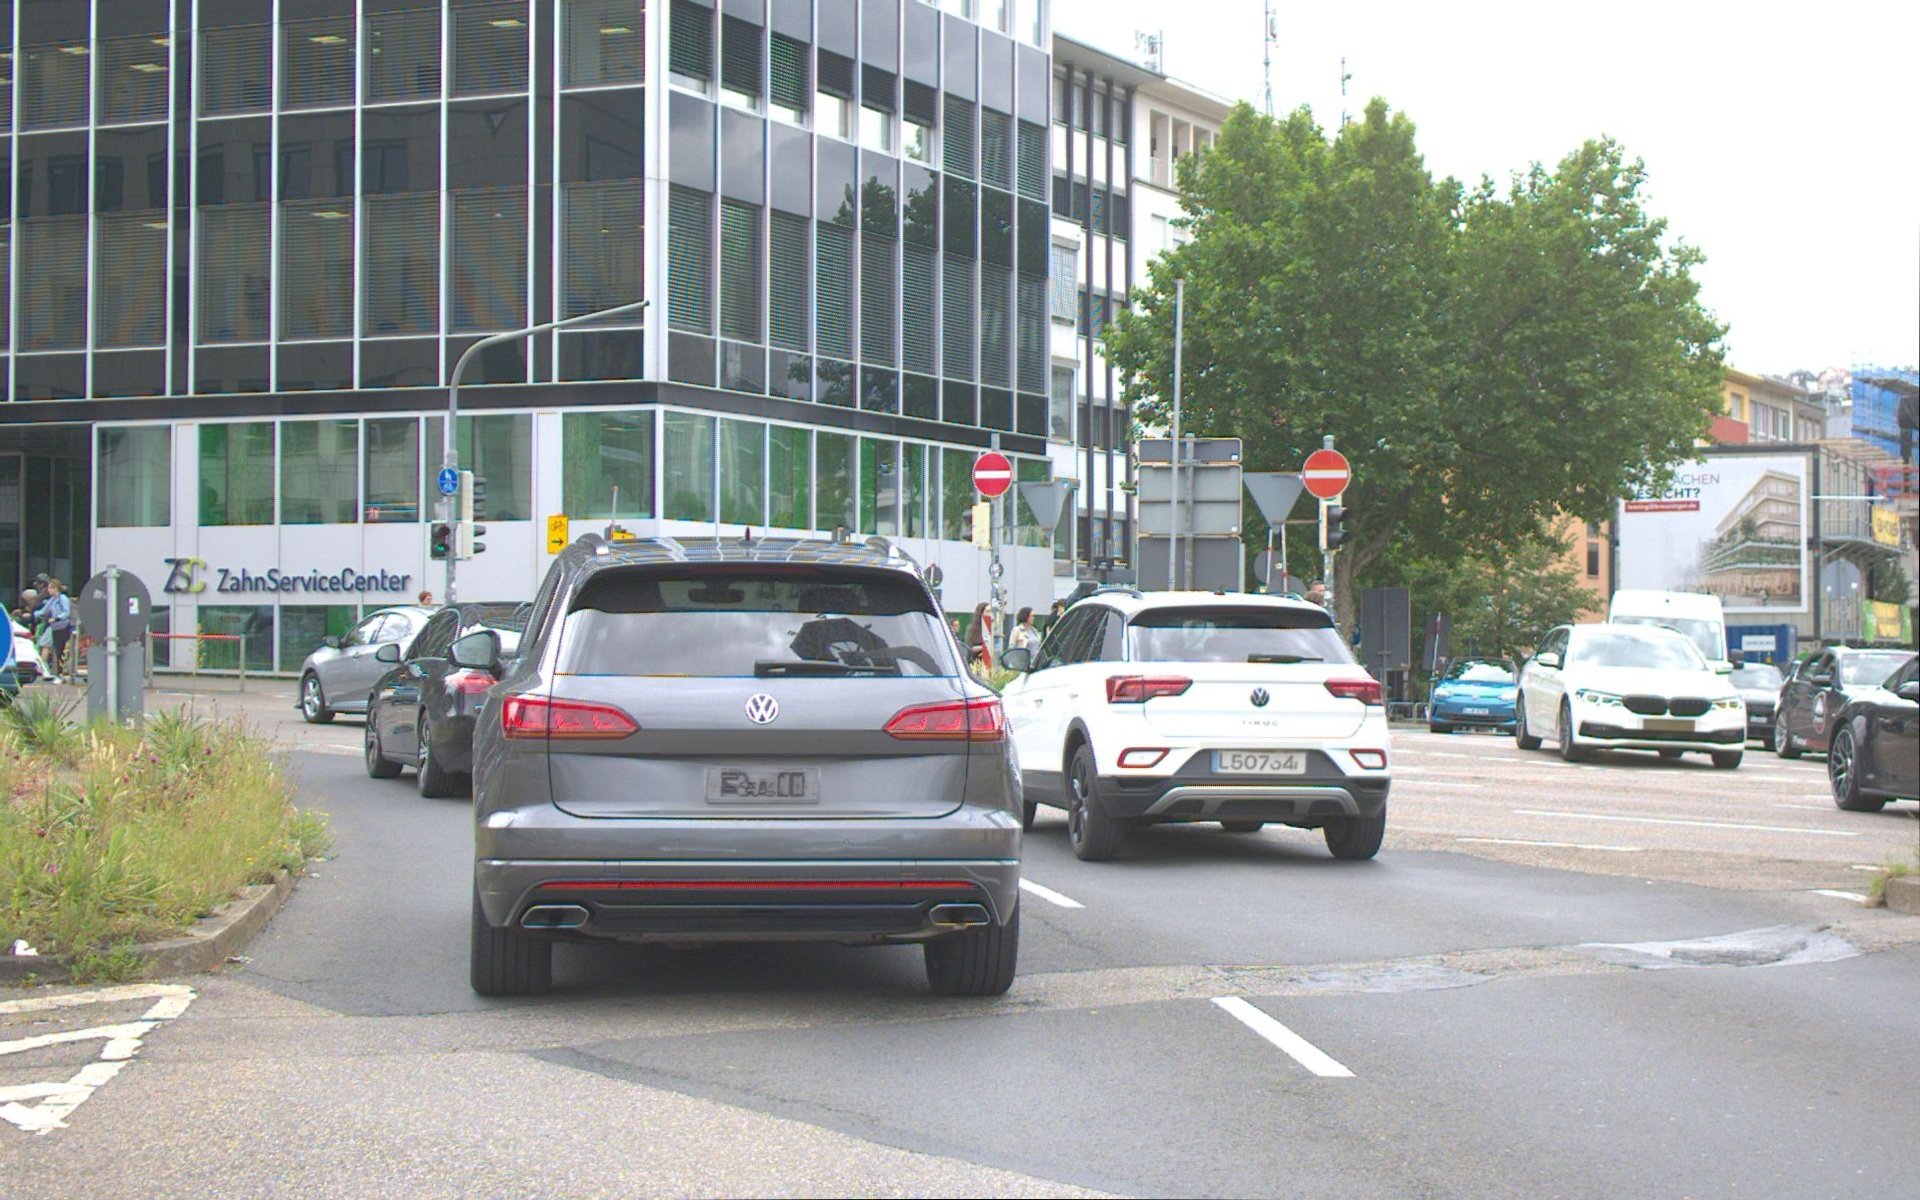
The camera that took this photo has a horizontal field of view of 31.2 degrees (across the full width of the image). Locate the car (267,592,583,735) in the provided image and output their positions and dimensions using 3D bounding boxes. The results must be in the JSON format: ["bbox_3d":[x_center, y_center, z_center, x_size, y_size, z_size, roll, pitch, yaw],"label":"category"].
[{"bbox_3d":[-6.258,0.710,39.895,1.833,1.427,4.147,3,0,-37],"label":"car"}]

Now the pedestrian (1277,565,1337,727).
[{"bbox_3d":[4.237,0.565,42.002,0.641,1.948,0.610,1,-1,10],"label":"pedestrian"}]

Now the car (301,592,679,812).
[{"bbox_3d":[-3.597,0.711,25.673,1.833,1.391,4.149,3,0,-21],"label":"car"}]

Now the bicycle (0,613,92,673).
[{"bbox_3d":[-15.918,0.740,59.443,1.664,1.023,0.581,0,0,1],"label":"bicycle"}]

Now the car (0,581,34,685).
[{"bbox_3d":[-15.764,0.455,51.064,3.762,1.512,1.834,1,1,34],"label":"car"}]

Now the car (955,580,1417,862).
[{"bbox_3d":[1.254,0.676,20.851,1.797,1.540,3.936,1,0,-12],"label":"car"}]

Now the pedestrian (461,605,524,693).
[{"bbox_3d":[-7.778,0.814,57.182,0.837,1.438,0.605,1,1,26],"label":"pedestrian"}]

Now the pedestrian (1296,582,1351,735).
[{"bbox_3d":[4.612,0.741,43.616,0.641,1.904,0.610,1,-1,7],"label":"pedestrian"}]

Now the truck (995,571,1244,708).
[{"bbox_3d":[3.872,0.986,81.133,2.342,3.053,8.185,1,-1,30],"label":"truck"}]

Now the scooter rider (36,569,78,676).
[{"bbox_3d":[-15.305,0.379,58.288,0.641,1.802,0.593,0,0,-11],"label":"scooter rider"}]

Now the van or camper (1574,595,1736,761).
[{"bbox_3d":[11.234,1.215,55.907,2.141,2.469,6.159,2,0,8],"label":"van or camper"}]

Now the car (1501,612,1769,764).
[{"bbox_3d":[7.291,0.940,37.659,1.993,1.499,5.039,2,-1,1],"label":"car"}]

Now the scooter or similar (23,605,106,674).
[{"bbox_3d":[-15.182,0.669,58.316,1.319,1.172,0.593,0,0,-11],"label":"scooter or similar"}]

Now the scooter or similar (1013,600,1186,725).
[{"bbox_3d":[1.650,0.731,40.483,1.883,1.402,0.776,1,-1,14],"label":"scooter or similar"}]

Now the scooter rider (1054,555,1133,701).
[{"bbox_3d":[1.579,0.335,40.506,0.744,1.688,0.766,1,-1,14],"label":"scooter rider"}]

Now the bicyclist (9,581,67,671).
[{"bbox_3d":[-15.940,0.444,59.439,0.843,1.544,0.565,0,0,1],"label":"bicyclist"}]

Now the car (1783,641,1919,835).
[{"bbox_3d":[7.391,0.978,24.643,1.670,1.260,4.058,-1,1,-5],"label":"car"}]

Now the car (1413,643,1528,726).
[{"bbox_3d":[10.215,1.669,69.000,1.943,1.477,4.627,1,1,4],"label":"car"}]

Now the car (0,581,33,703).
[{"bbox_3d":[-13.509,0.492,44.103,1.832,1.512,3.766,0,1,-37],"label":"car"}]

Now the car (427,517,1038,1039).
[{"bbox_3d":[-0.992,0.555,13.344,1.970,1.690,4.225,1,1,-7],"label":"car"}]

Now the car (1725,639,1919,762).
[{"bbox_3d":[10.562,1.158,40.346,1.753,1.329,4.413,2,-1,-6],"label":"car"}]

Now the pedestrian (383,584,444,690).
[{"bbox_3d":[-8.870,0.594,55.801,0.800,1.692,0.547,1,0,25],"label":"pedestrian"}]

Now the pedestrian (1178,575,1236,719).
[{"bbox_3d":[3.126,0.595,43.477,0.641,1.791,0.610,2,-1,7],"label":"pedestrian"}]
